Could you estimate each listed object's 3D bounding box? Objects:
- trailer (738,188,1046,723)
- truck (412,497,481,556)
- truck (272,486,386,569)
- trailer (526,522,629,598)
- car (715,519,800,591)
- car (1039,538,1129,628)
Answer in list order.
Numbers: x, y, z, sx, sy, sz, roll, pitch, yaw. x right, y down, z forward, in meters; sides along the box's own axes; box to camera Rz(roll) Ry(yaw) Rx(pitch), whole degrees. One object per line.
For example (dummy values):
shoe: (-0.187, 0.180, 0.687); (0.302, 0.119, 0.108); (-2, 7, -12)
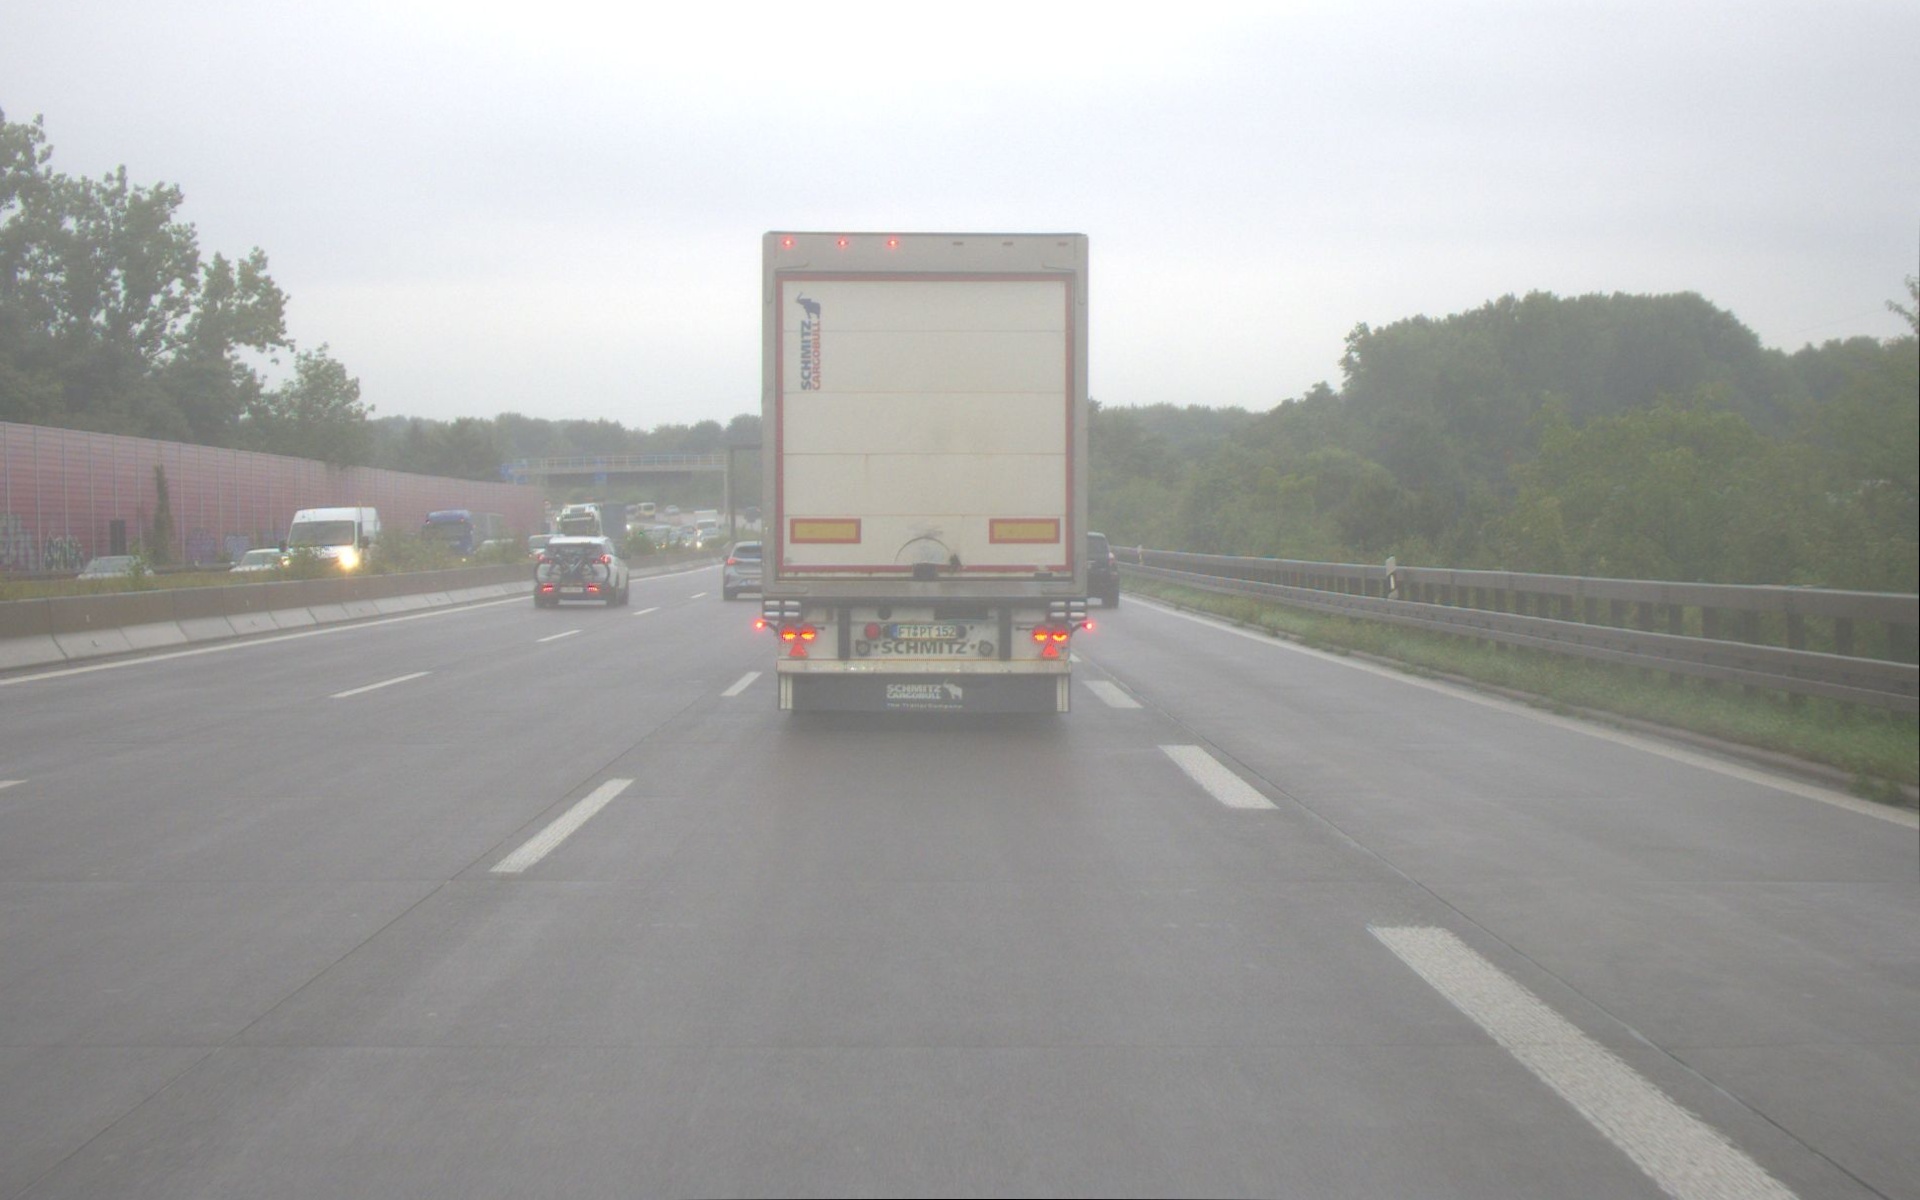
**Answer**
trailer: (-0.611, -1.222, 34.268); (2.342, 4.143, 14.827); (1, 1, -1)
truck: (-30.361, -4.357, 203.710); (2.712, 3.339, 10.433); (1, 1, -1)
truck: (-17.262, -1.984, 94.295); (2.145, 2.198, 5.419); (0, 1, 0)
trailer: (-8.513, -0.925, 76.830); (1.815, 1.619, 4.568); (0, 2, -1)
car: (-4.992, -1.134, 85.092); (1.894, 1.717, 4.000); (1, 1, -1)
car: (2.781, -0.403, 77.759); (1.897, 1.943, 4.000); (1, 1, 1)
